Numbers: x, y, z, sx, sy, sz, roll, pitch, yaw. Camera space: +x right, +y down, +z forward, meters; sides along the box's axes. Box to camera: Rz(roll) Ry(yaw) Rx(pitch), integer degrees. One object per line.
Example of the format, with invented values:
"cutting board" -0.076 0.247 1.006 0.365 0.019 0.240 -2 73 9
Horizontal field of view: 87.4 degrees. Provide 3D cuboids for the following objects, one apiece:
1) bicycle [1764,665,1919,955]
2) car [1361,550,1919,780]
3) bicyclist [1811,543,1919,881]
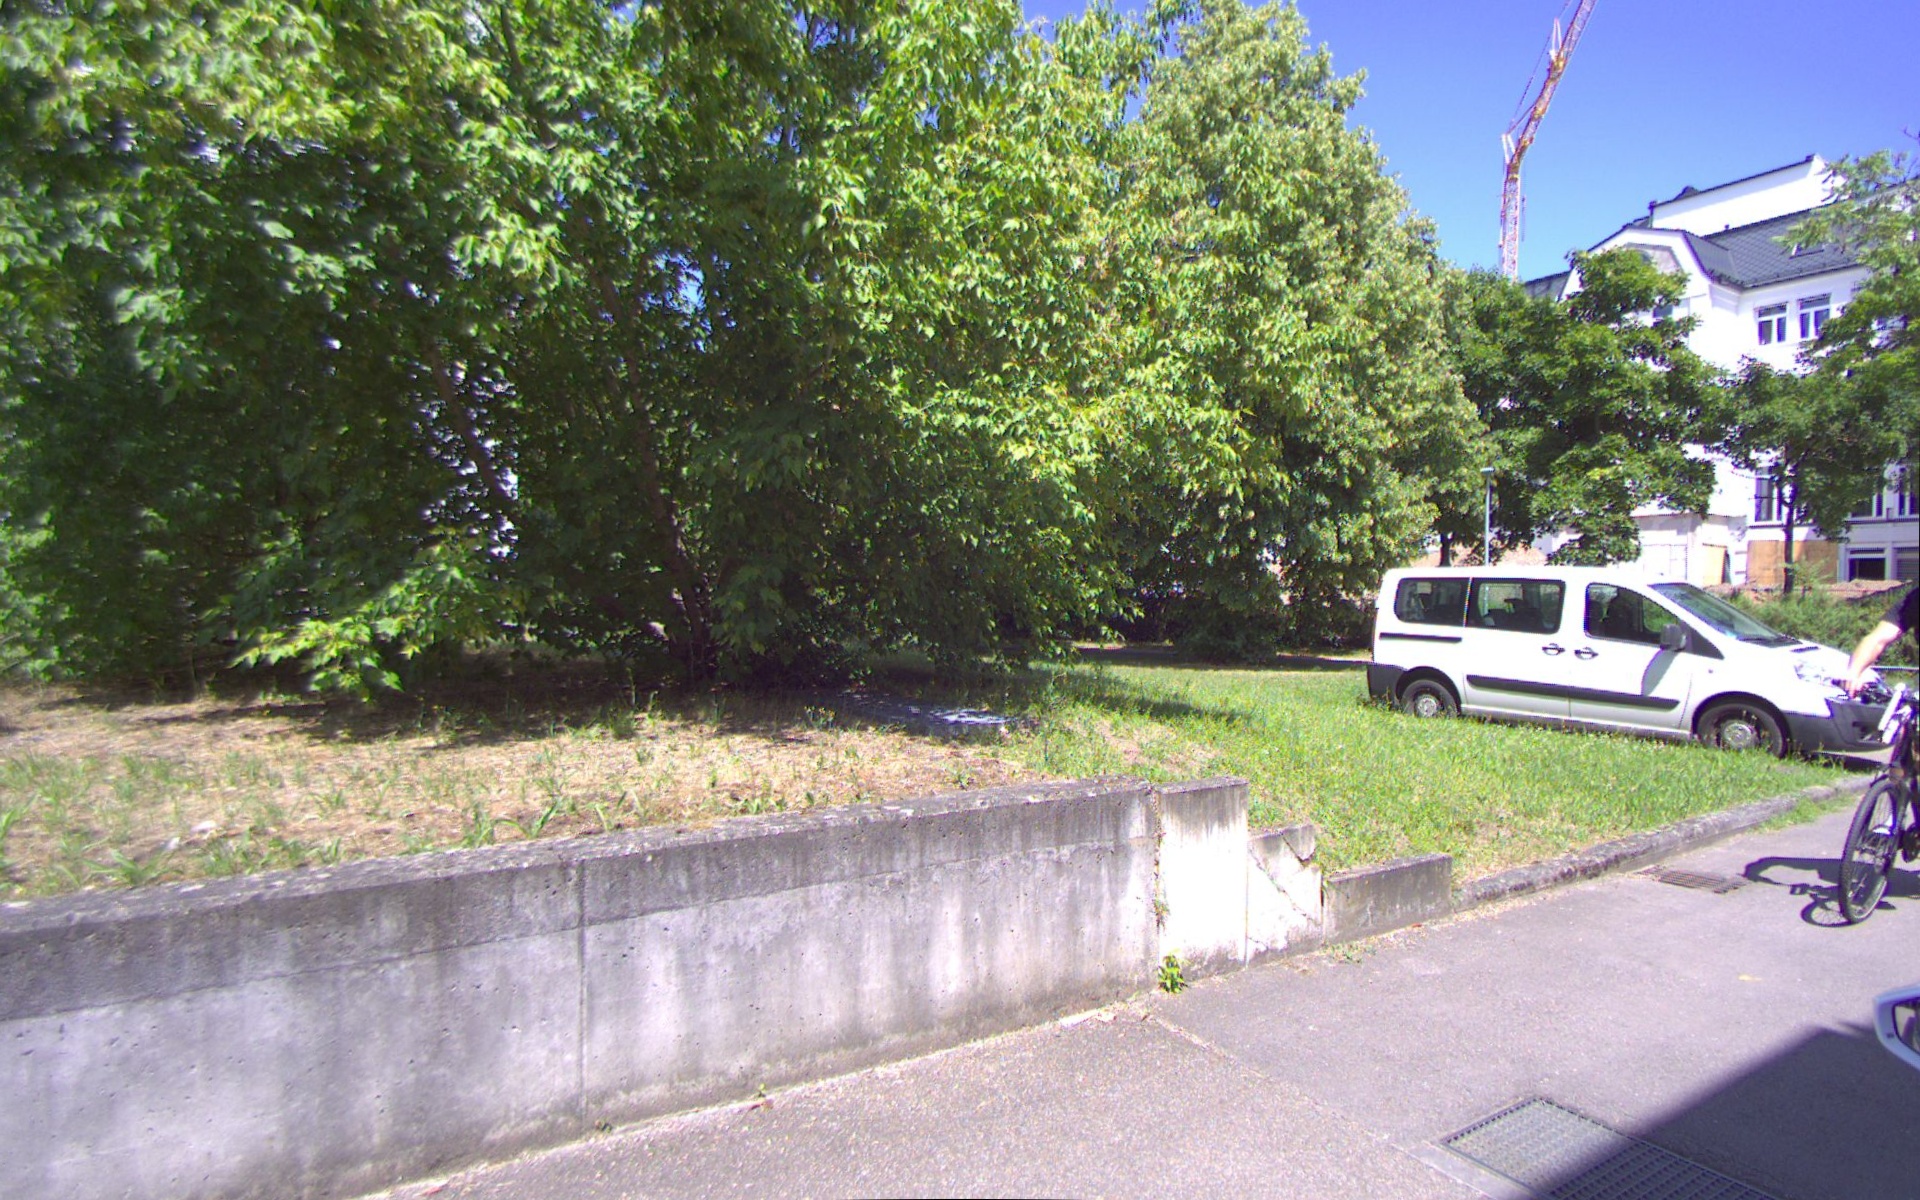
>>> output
"bicycle" 4.993 0.969 5.104 1.878 1.190 0.642 -1 1 -25
"car" 7.114 0.570 10.986 1.982 1.937 4.753 1 -1 -37
"bicyclist" 5.032 0.538 5.108 0.965 1.631 0.720 0 1 -25
